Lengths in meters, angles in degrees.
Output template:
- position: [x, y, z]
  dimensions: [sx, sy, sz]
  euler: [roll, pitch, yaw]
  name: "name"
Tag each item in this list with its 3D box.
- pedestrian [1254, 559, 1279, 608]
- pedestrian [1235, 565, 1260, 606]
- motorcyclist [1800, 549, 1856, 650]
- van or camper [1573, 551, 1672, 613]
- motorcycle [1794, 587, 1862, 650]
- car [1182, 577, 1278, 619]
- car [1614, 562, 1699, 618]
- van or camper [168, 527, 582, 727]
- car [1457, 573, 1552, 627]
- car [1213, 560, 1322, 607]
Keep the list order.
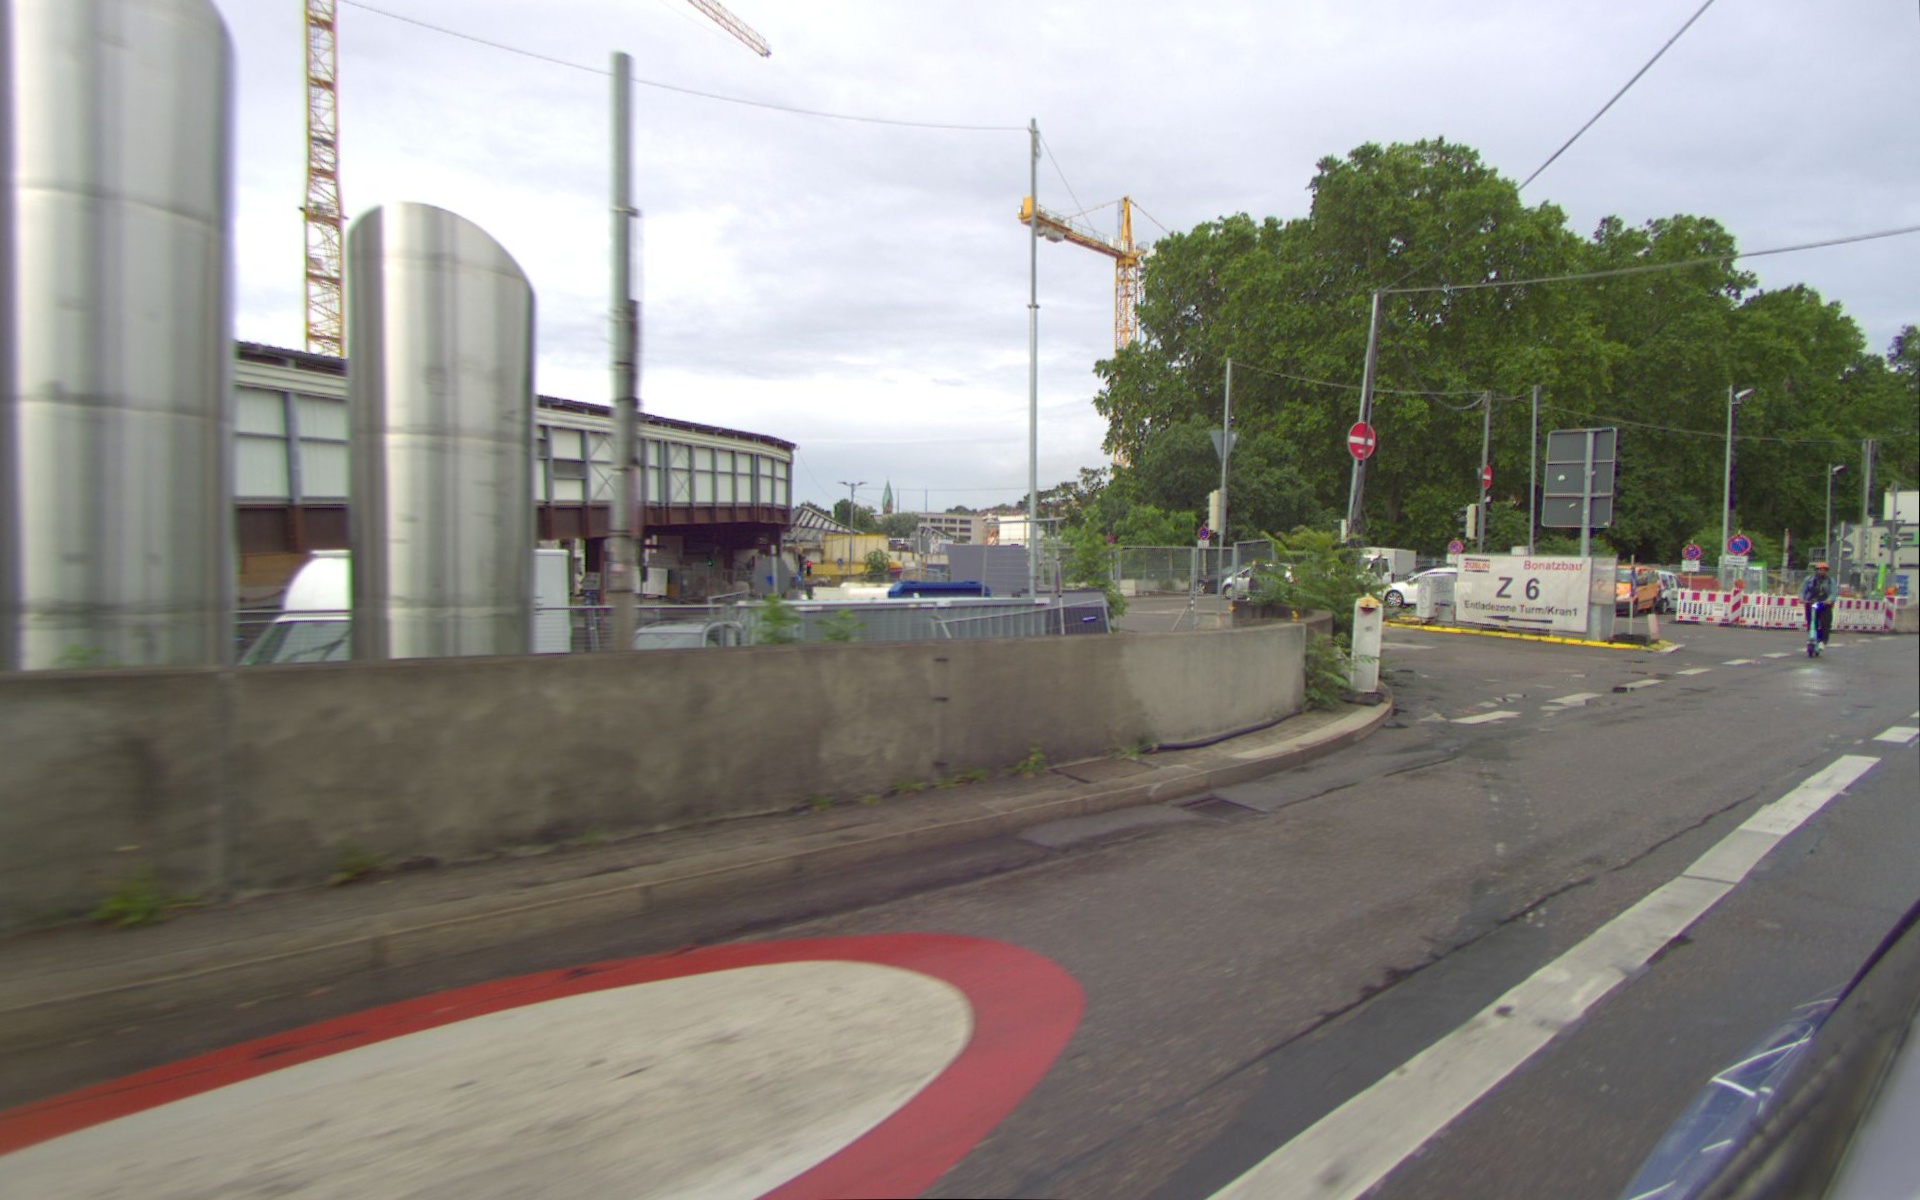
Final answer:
- position: [11.962, -0.642, 39.499]
  dimensions: [0.650, 1.894, 0.652]
  euler: [4, 1, 42]
  name: "pedestrian"
- position: [11.397, -0.566, 40.144]
  dimensions: [0.650, 1.594, 0.652]
  euler: [4, 1, 42]
  name: "pedestrian"
- position: [18.299, -0.012, 21.332]
  dimensions: [0.577, 2.061, 0.726]
  euler: [3, 1, -40]
  name: "motorcyclist"
- position: [25.021, -0.637, 38.161]
  dimensions: [2.119, 2.054, 4.931]
  euler: [4, 2, 44]
  name: "van or camper"
- position: [18.366, 0.405, 21.406]
  dimensions: [2.123, 1.244, 0.729]
  euler: [2, 1, -41]
  name: "motorcycle"
- position: [12.338, -0.106, 46.361]
  dimensions: [3.717, 1.657, 1.969]
  euler: [5, 2, 43]
  name: "car"
- position: [29.129, -0.403, 42.284]
  dimensions: [4.119, 2.092, 1.996]
  euler: [2, 2, -43]
  name: "car"
- position: [-8.711, 0.283, 16.056]
  dimensions: [2.347, 2.431, 6.048]
  euler: [3, 1, 9]
  name: "van or camper"
- position: [19.101, 0.020, 35.421]
  dimensions: [1.993, 1.657, 4.126]
  euler: [4, 2, 41]
  name: "car"
- position: [12.461, -0.664, 41.085]
  dimensions: [3.717, 1.657, 1.969]
  euler: [5, 2, 43]
  name: "car"
